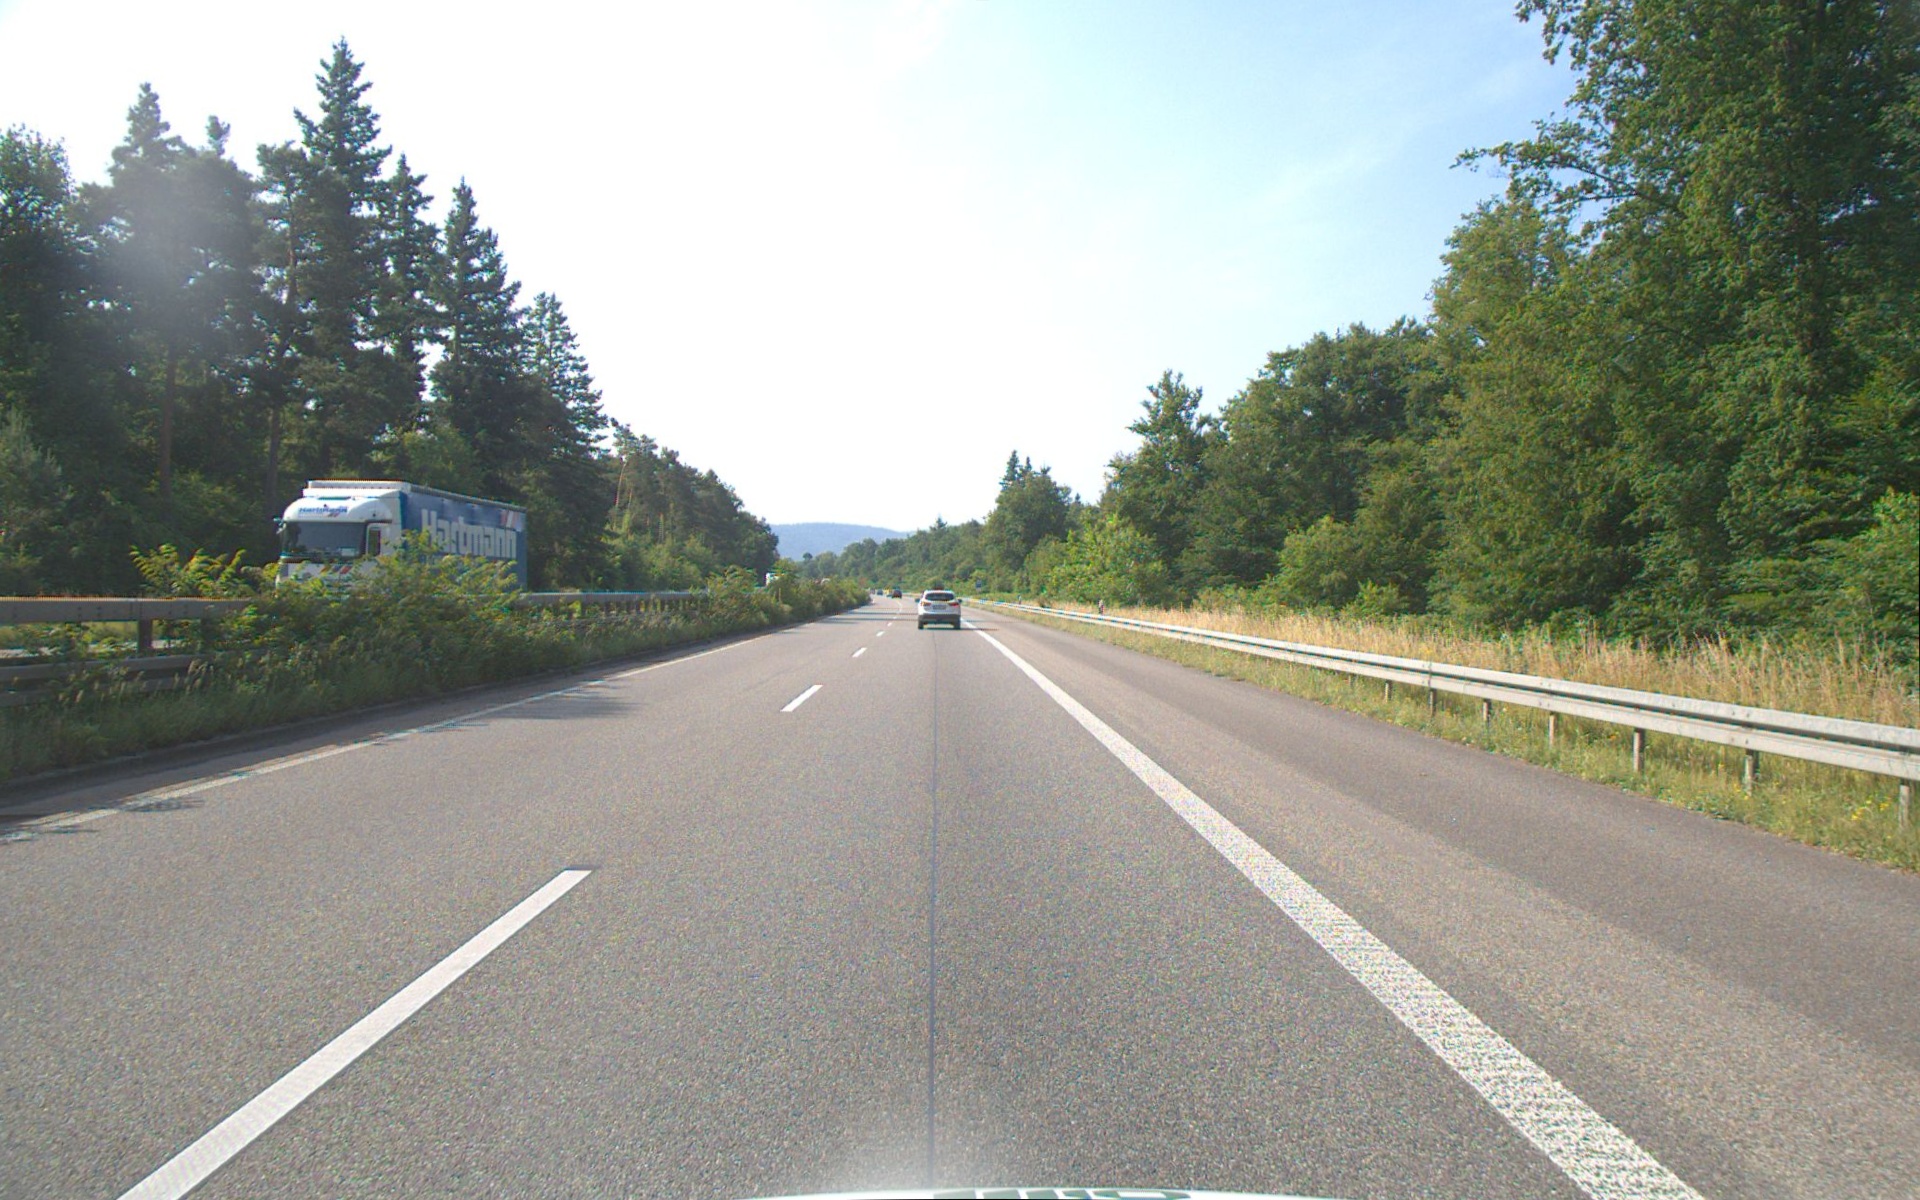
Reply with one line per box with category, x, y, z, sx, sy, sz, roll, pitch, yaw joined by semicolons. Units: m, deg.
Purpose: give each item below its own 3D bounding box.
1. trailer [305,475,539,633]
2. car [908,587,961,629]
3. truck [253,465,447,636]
trailer;-15.782;-1.252;50.005;2.834;4.078;13.321;-1;0;-1
car;-1.104;0.297;69.485;1.837;1.614;3.996;3;0;-6
truck;-15.711;-1.221;43.082;2.834;4.102;6.024;-1;0;-1
